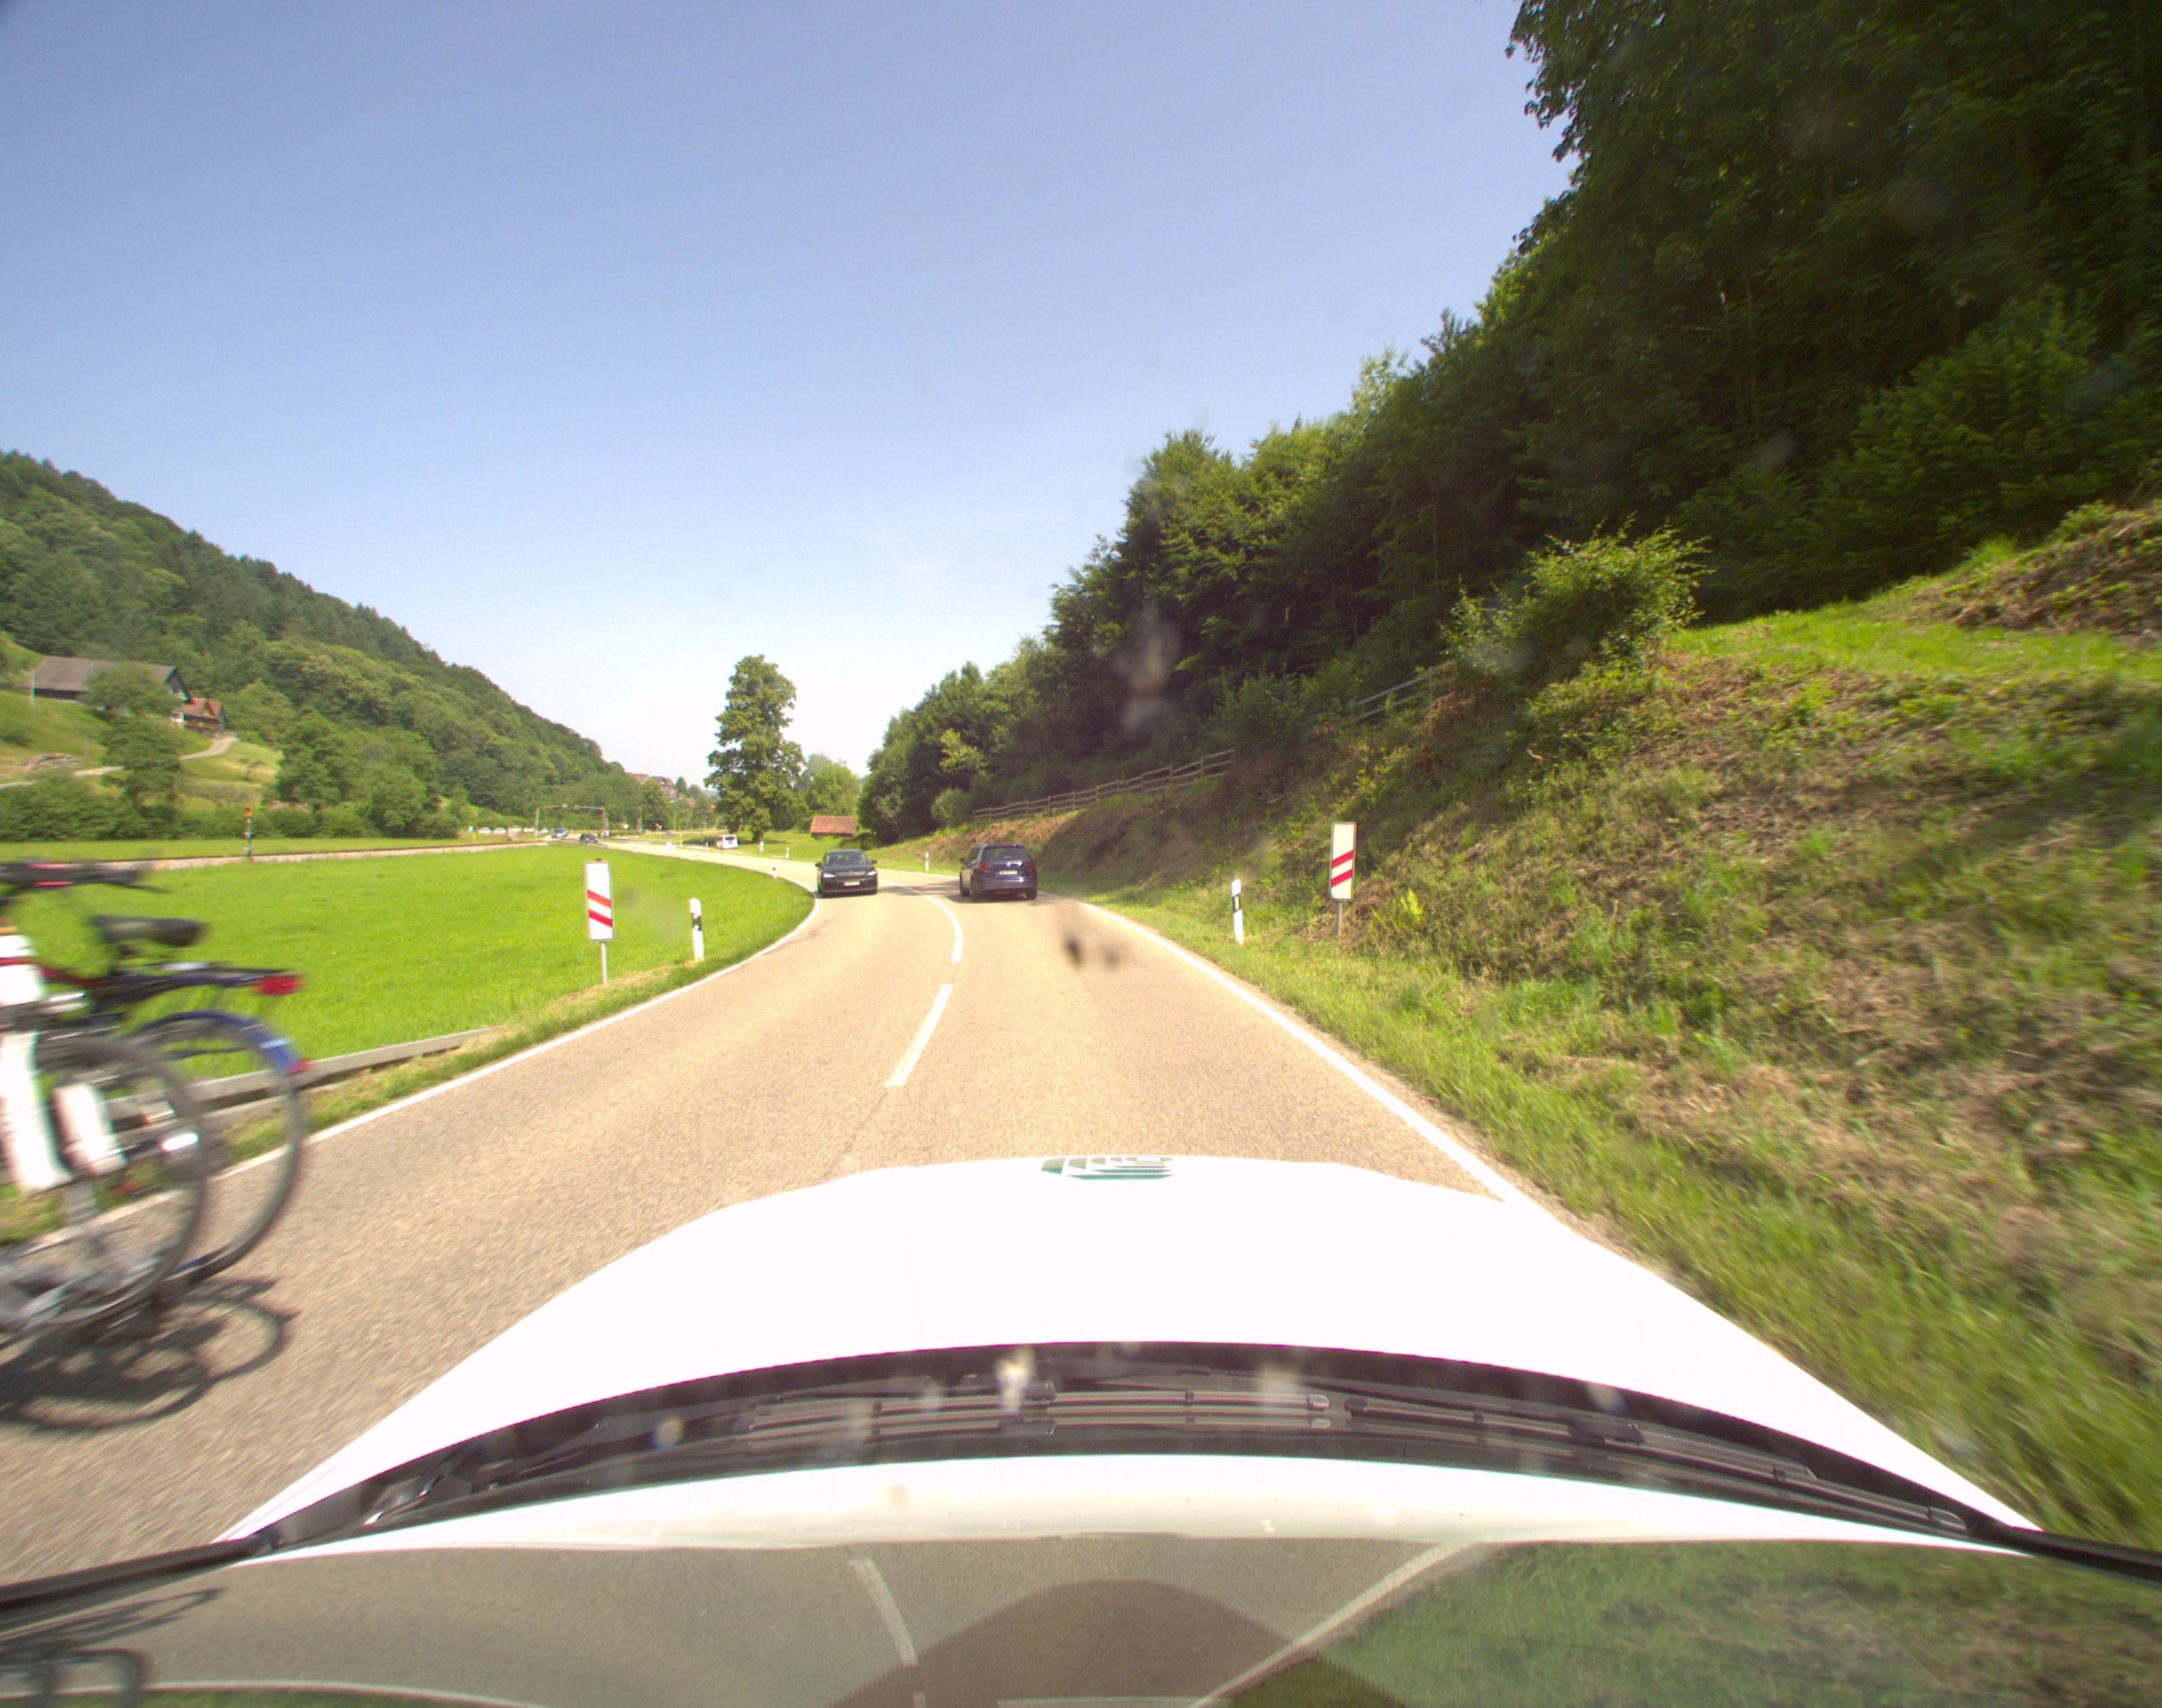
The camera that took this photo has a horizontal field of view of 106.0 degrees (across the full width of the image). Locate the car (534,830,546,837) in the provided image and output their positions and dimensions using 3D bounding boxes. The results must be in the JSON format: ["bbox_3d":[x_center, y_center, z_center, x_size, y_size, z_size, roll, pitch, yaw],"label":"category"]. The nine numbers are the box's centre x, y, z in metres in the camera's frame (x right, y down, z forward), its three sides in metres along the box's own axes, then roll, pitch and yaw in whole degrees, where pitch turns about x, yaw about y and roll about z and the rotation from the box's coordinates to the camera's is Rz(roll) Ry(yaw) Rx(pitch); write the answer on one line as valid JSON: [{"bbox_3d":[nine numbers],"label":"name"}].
[{"bbox_3d":[-121.704,-4.561,183.198,1.840,1.500,4.230,-1,2,-37],"label":"car"}]

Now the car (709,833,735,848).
[{"bbox_3d":[-48.931,-1.893,111.069,2.016,1.847,4.815,-7,6,-37],"label":"car"}]

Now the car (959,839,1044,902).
[{"bbox_3d":[-2.451,0.438,24.084,1.856,1.649,4.119,-1,0,-15],"label":"car"}]

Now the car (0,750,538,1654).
[{"bbox_3d":[-3.085,0.715,0.624,1.943,1.740,4.896,-2,1,0],"label":"car"}]

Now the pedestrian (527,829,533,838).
[{"bbox_3d":[-120.584,-4.498,178.209,0.643,1.858,0.772,0,2,7],"label":"pedestrian"}]

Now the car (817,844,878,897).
[{"bbox_3d":[-8.345,0.515,29.115,1.880,1.586,4.570,-3,2,-17],"label":"car"}]

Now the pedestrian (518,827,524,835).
[{"bbox_3d":[-121.298,-5.022,176.380,0.791,1.842,0.693,-1,2,-23],"label":"pedestrian"}]

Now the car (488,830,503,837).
[{"bbox_3d":[-129.434,-4.555,180.128,2.004,1.641,4.860,-1,2,-27],"label":"car"}]
